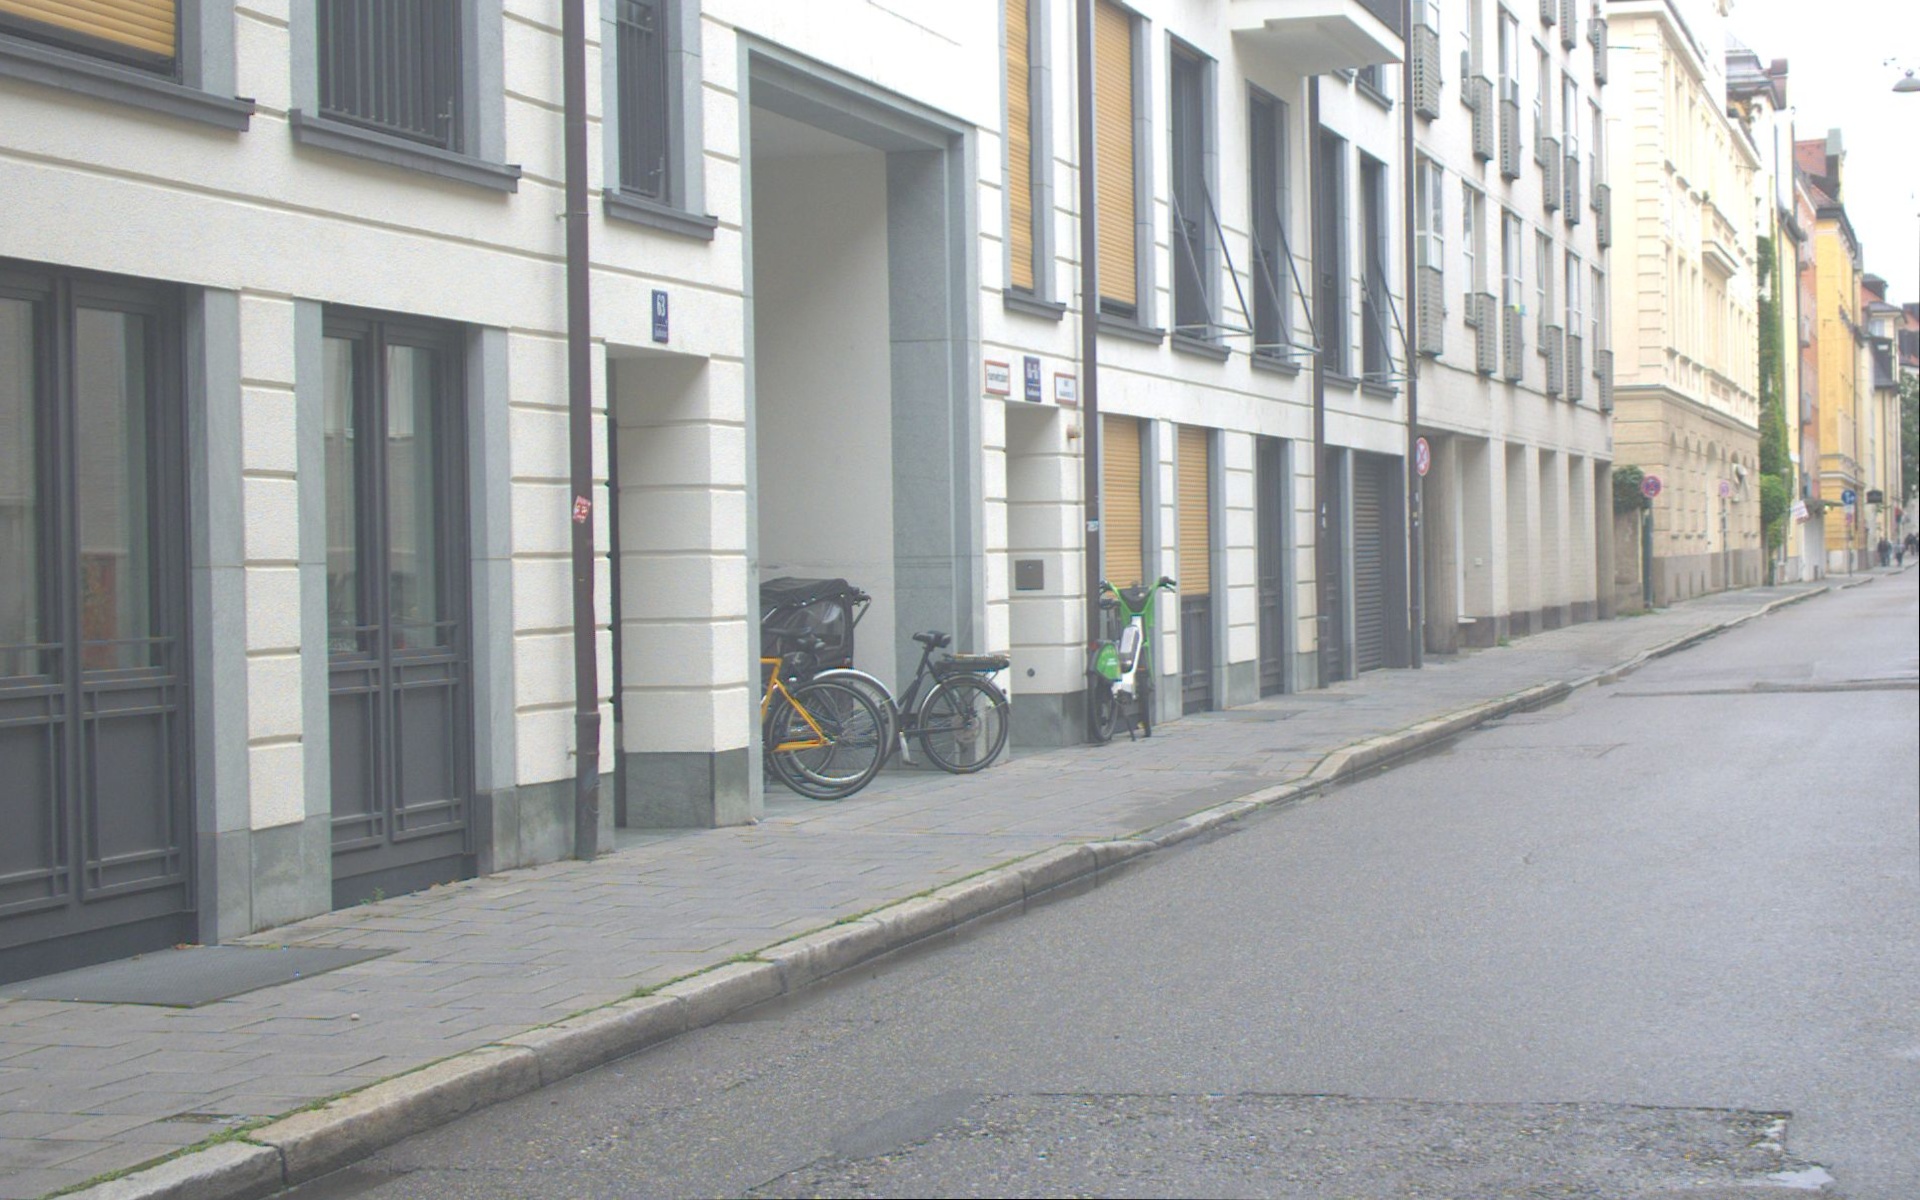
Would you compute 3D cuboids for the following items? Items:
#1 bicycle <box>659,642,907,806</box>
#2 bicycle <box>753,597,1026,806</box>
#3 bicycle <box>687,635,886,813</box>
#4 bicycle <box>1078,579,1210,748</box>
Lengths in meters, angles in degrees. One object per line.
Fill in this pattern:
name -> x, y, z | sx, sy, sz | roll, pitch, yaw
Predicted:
bicycle -> -1.030, 0.713, 20.031 | 1.386, 0.885, 0.380 | -1, 2, -17
bicycle -> -0.421, 0.604, 21.075 | 1.680, 1.189, 0.380 | -2, 3, -29
bicycle -> -0.975, 0.689, 19.332 | 1.063, 0.944, 0.308 | -1, 2, -17
bicycle -> 1.333, 0.427, 24.529 | 0.340, 1.142, 2.189 | -2, 0, 18
